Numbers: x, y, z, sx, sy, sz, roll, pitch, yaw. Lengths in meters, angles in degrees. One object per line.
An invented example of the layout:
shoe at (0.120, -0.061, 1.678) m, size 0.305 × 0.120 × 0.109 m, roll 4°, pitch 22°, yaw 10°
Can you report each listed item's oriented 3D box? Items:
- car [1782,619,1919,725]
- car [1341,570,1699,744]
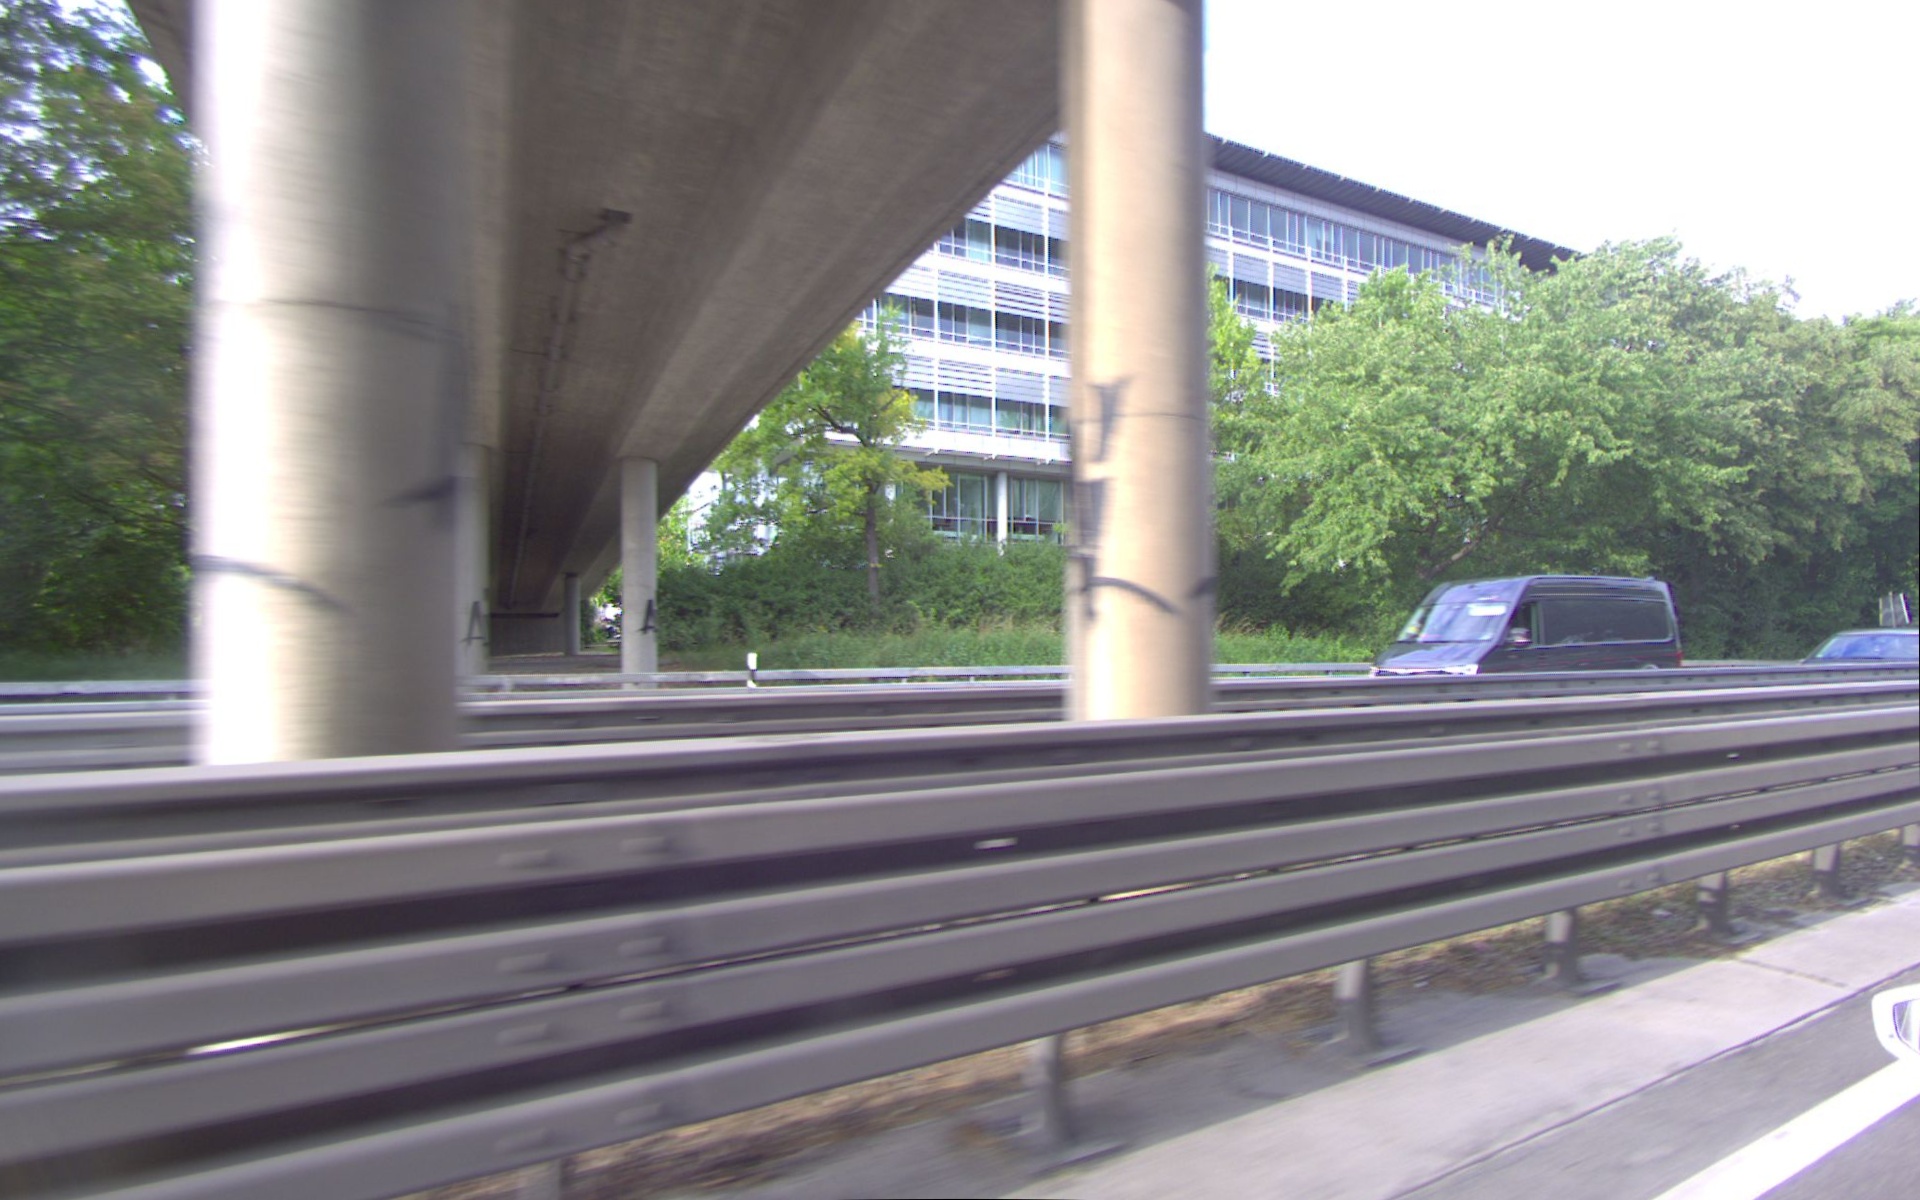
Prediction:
car at (15.166, 1.113, 16.388) m, size 3.598 × 1.548 × 1.598 m, roll 1°, pitch -1°, yaw -31°
car at (9.890, 0.914, 17.498) m, size 6.857 × 2.570 × 2.240 m, roll 1°, pitch -1°, yaw -30°
